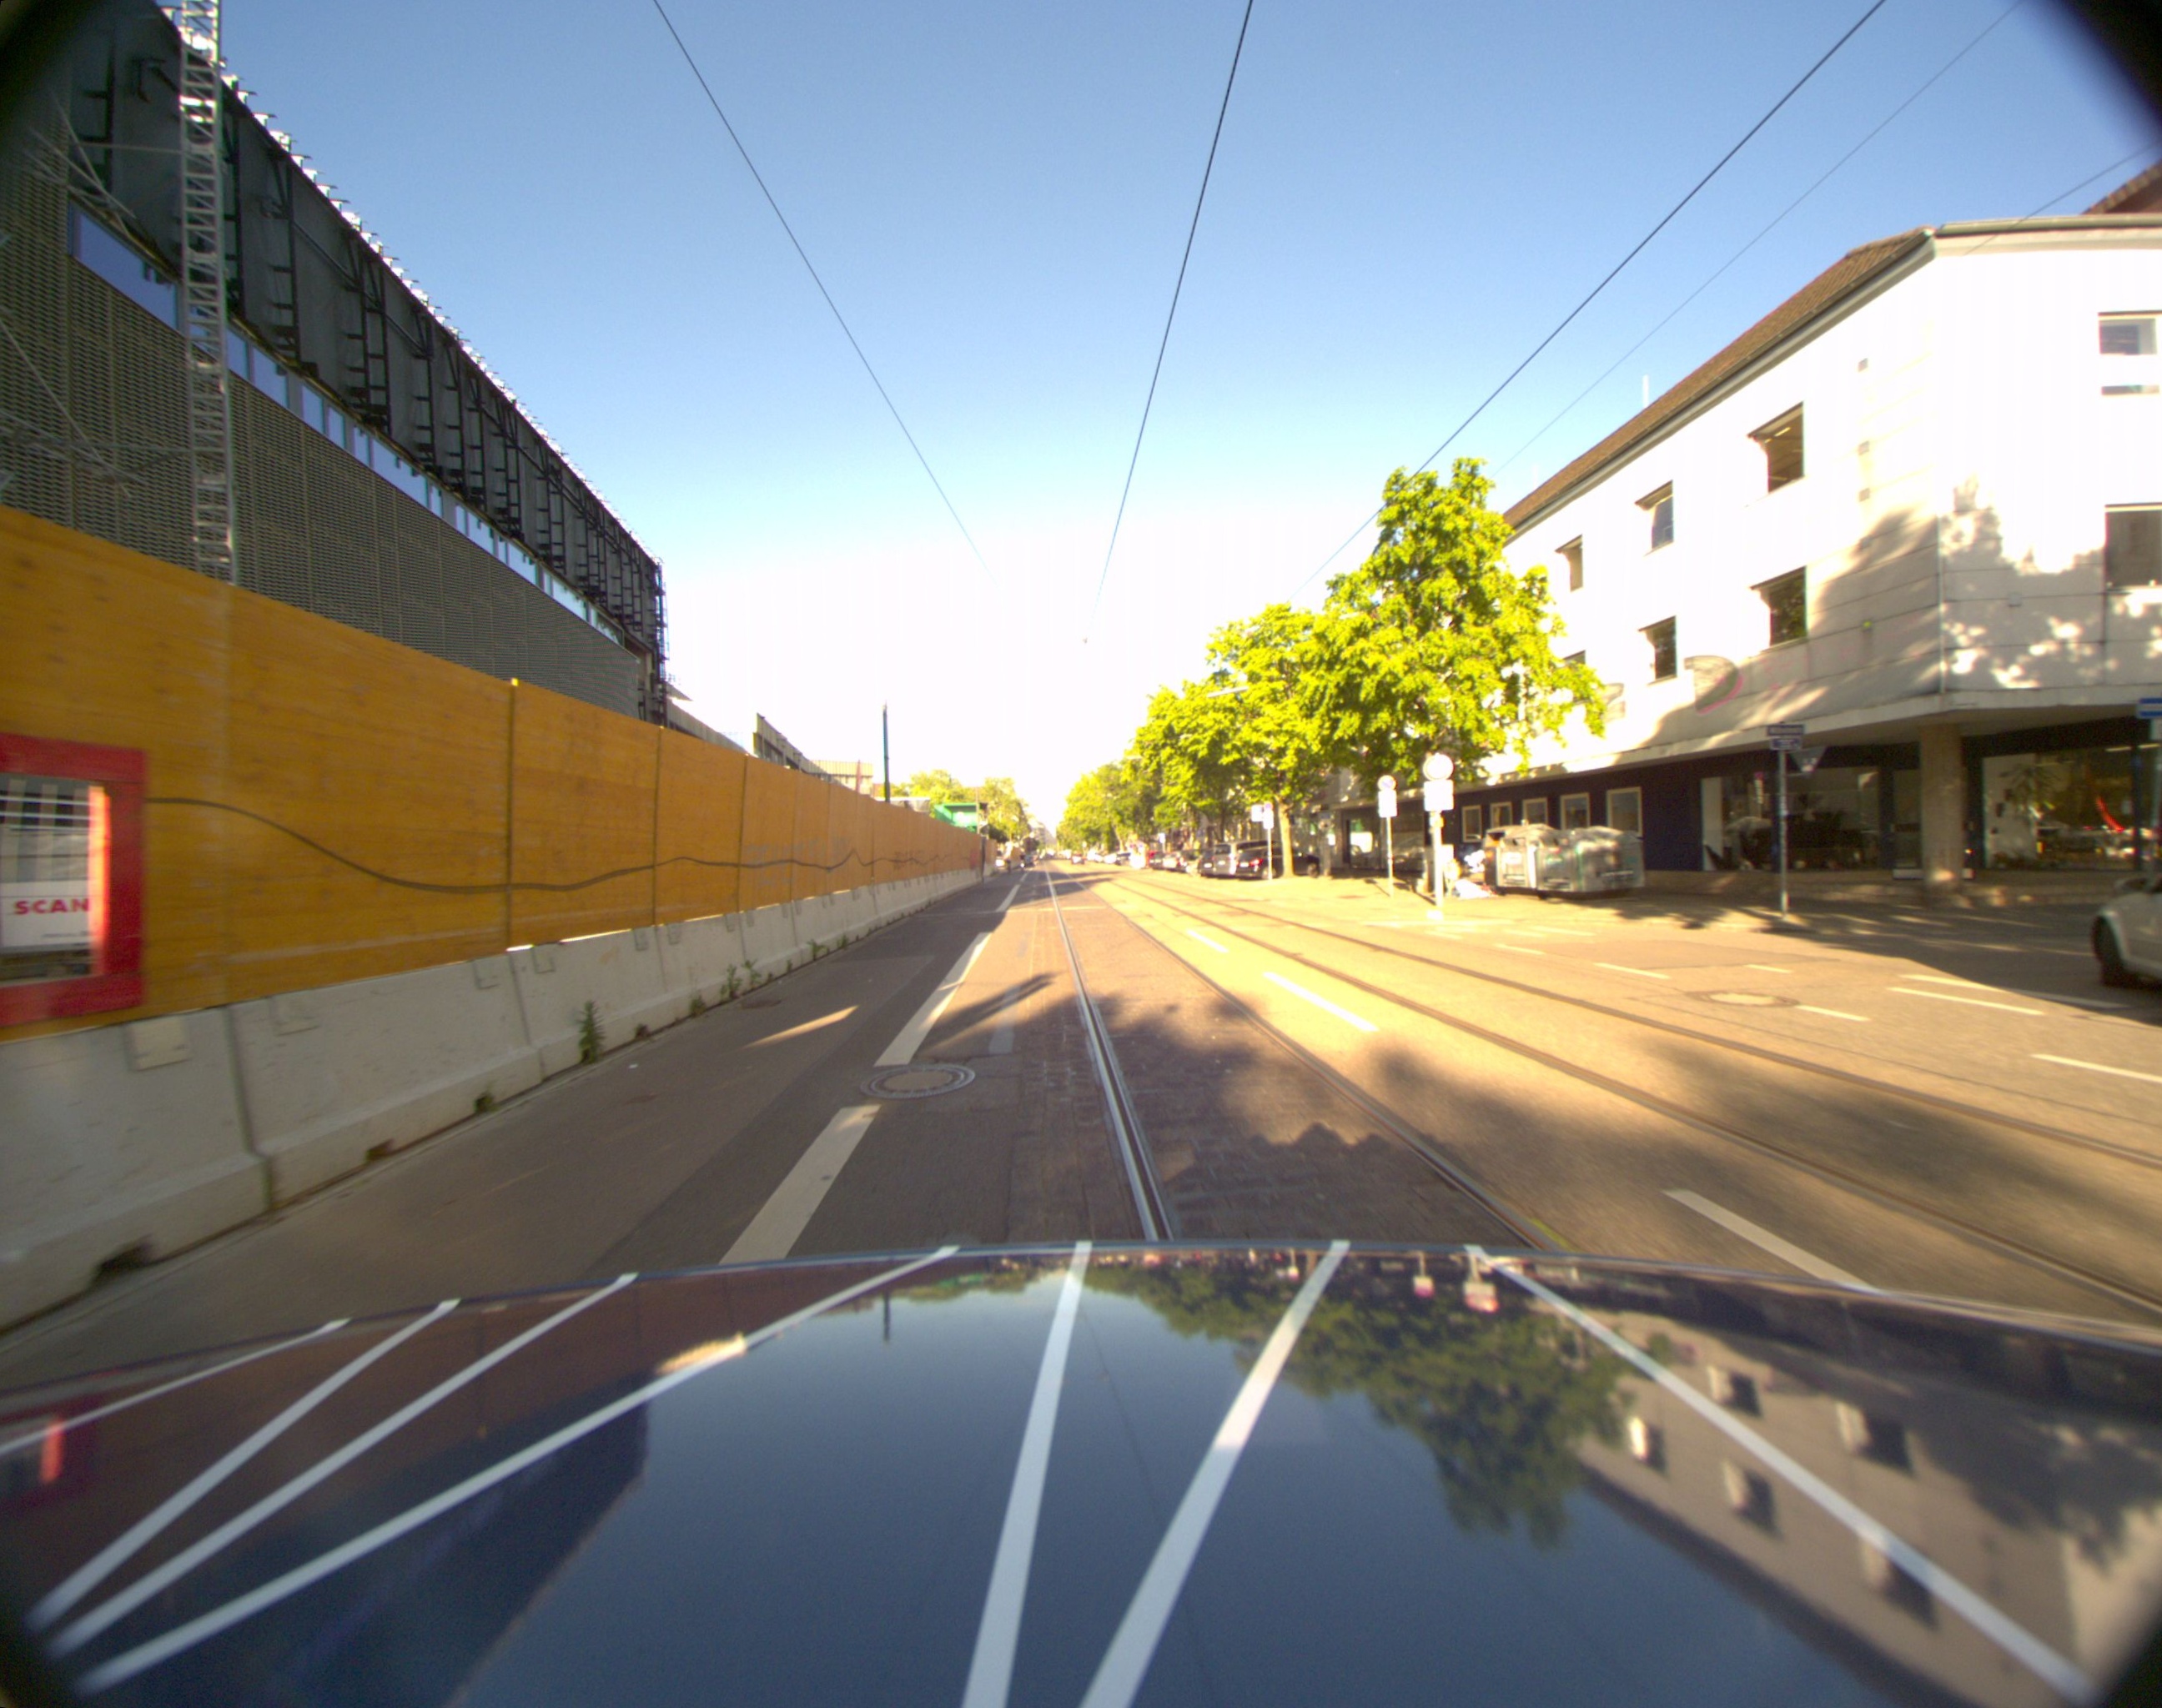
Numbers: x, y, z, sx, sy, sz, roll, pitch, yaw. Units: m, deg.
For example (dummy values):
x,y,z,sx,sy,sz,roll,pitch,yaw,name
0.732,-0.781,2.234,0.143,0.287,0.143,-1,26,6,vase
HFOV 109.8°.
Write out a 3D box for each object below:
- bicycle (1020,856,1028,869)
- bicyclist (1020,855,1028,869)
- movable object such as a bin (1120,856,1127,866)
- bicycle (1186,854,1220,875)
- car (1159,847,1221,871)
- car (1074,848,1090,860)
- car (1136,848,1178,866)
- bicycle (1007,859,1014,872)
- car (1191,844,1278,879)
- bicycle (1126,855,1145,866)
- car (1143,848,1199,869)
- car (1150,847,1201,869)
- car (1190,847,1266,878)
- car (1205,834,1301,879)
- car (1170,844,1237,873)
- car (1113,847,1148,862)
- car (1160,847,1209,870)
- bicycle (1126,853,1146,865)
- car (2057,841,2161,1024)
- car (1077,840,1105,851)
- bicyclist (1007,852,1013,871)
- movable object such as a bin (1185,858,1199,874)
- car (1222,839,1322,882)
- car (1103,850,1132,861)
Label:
x,y,z,sx,sy,sz,roll,pitch,yaw,name
-5.003,0.735,66.446,0.669,1.148,2.275,-2,1,-5,bicycle
-4.952,0.687,66.172,0.653,1.230,0.353,-1,1,-5,bicyclist
4.811,0.815,86.082,0.685,1.071,0.710,-5,0,-1,movable object such as a bin
7.365,0.601,45.839,1.973,1.138,0.492,-4,1,-21,bicycle
7.983,0.372,55.538,4.123,1.503,1.837,-4,0,-29,car
0.153,-0.055,107.656,1.933,1.620,4.247,-2,1,-3,car
7.384,0.295,73.518,3.630,1.544,1.665,-4,-1,-29,car
-6.123,1.006,65.971,0.559,1.120,2.275,-1,0,-5,bicycle
8.254,0.398,40.825,4.254,1.675,1.807,-2,1,-23,car
6.035,0.710,83.936,1.973,1.073,0.568,-4,1,0,bicycle
7.587,0.342,63.940,4.208,1.482,1.939,-4,1,-29,car
7.620,0.317,61.343,3.689,1.462,1.749,-4,1,-31,car
8.528,0.478,44.091,3.872,1.468,1.840,-4,1,-25,car
8.737,0.108,38.549,4.373,1.975,1.945,-4,1,-24,car
8.357,0.288,52.154,4.116,1.668,1.840,-4,1,-5,car
6.000,0.045,91.973,3.902,1.599,1.572,-2,1,-8,car
7.980,0.365,58.418,3.378,1.484,1.609,-4,0,-31,car
5.997,0.537,82.604,2.008,1.081,0.567,-6,1,0,bicycle
9.188,0.622,5.427,1.710,1.428,4.179,-1,0,37,car
1.953,-1.558,145.117,4.945,2.002,2.071,-2,0,-19,car
-6.174,0.627,66.166,0.558,1.603,0.576,-1,1,-5,bicyclist
6.708,0.747,45.875,0.577,0.908,0.574,-4,0,-19,movable object such as a bin
9.027,0.285,35.849,4.301,1.657,1.908,-5,1,-27,car
5.190,0.202,107.442,3.651,1.521,1.883,-2,1,-22,car
